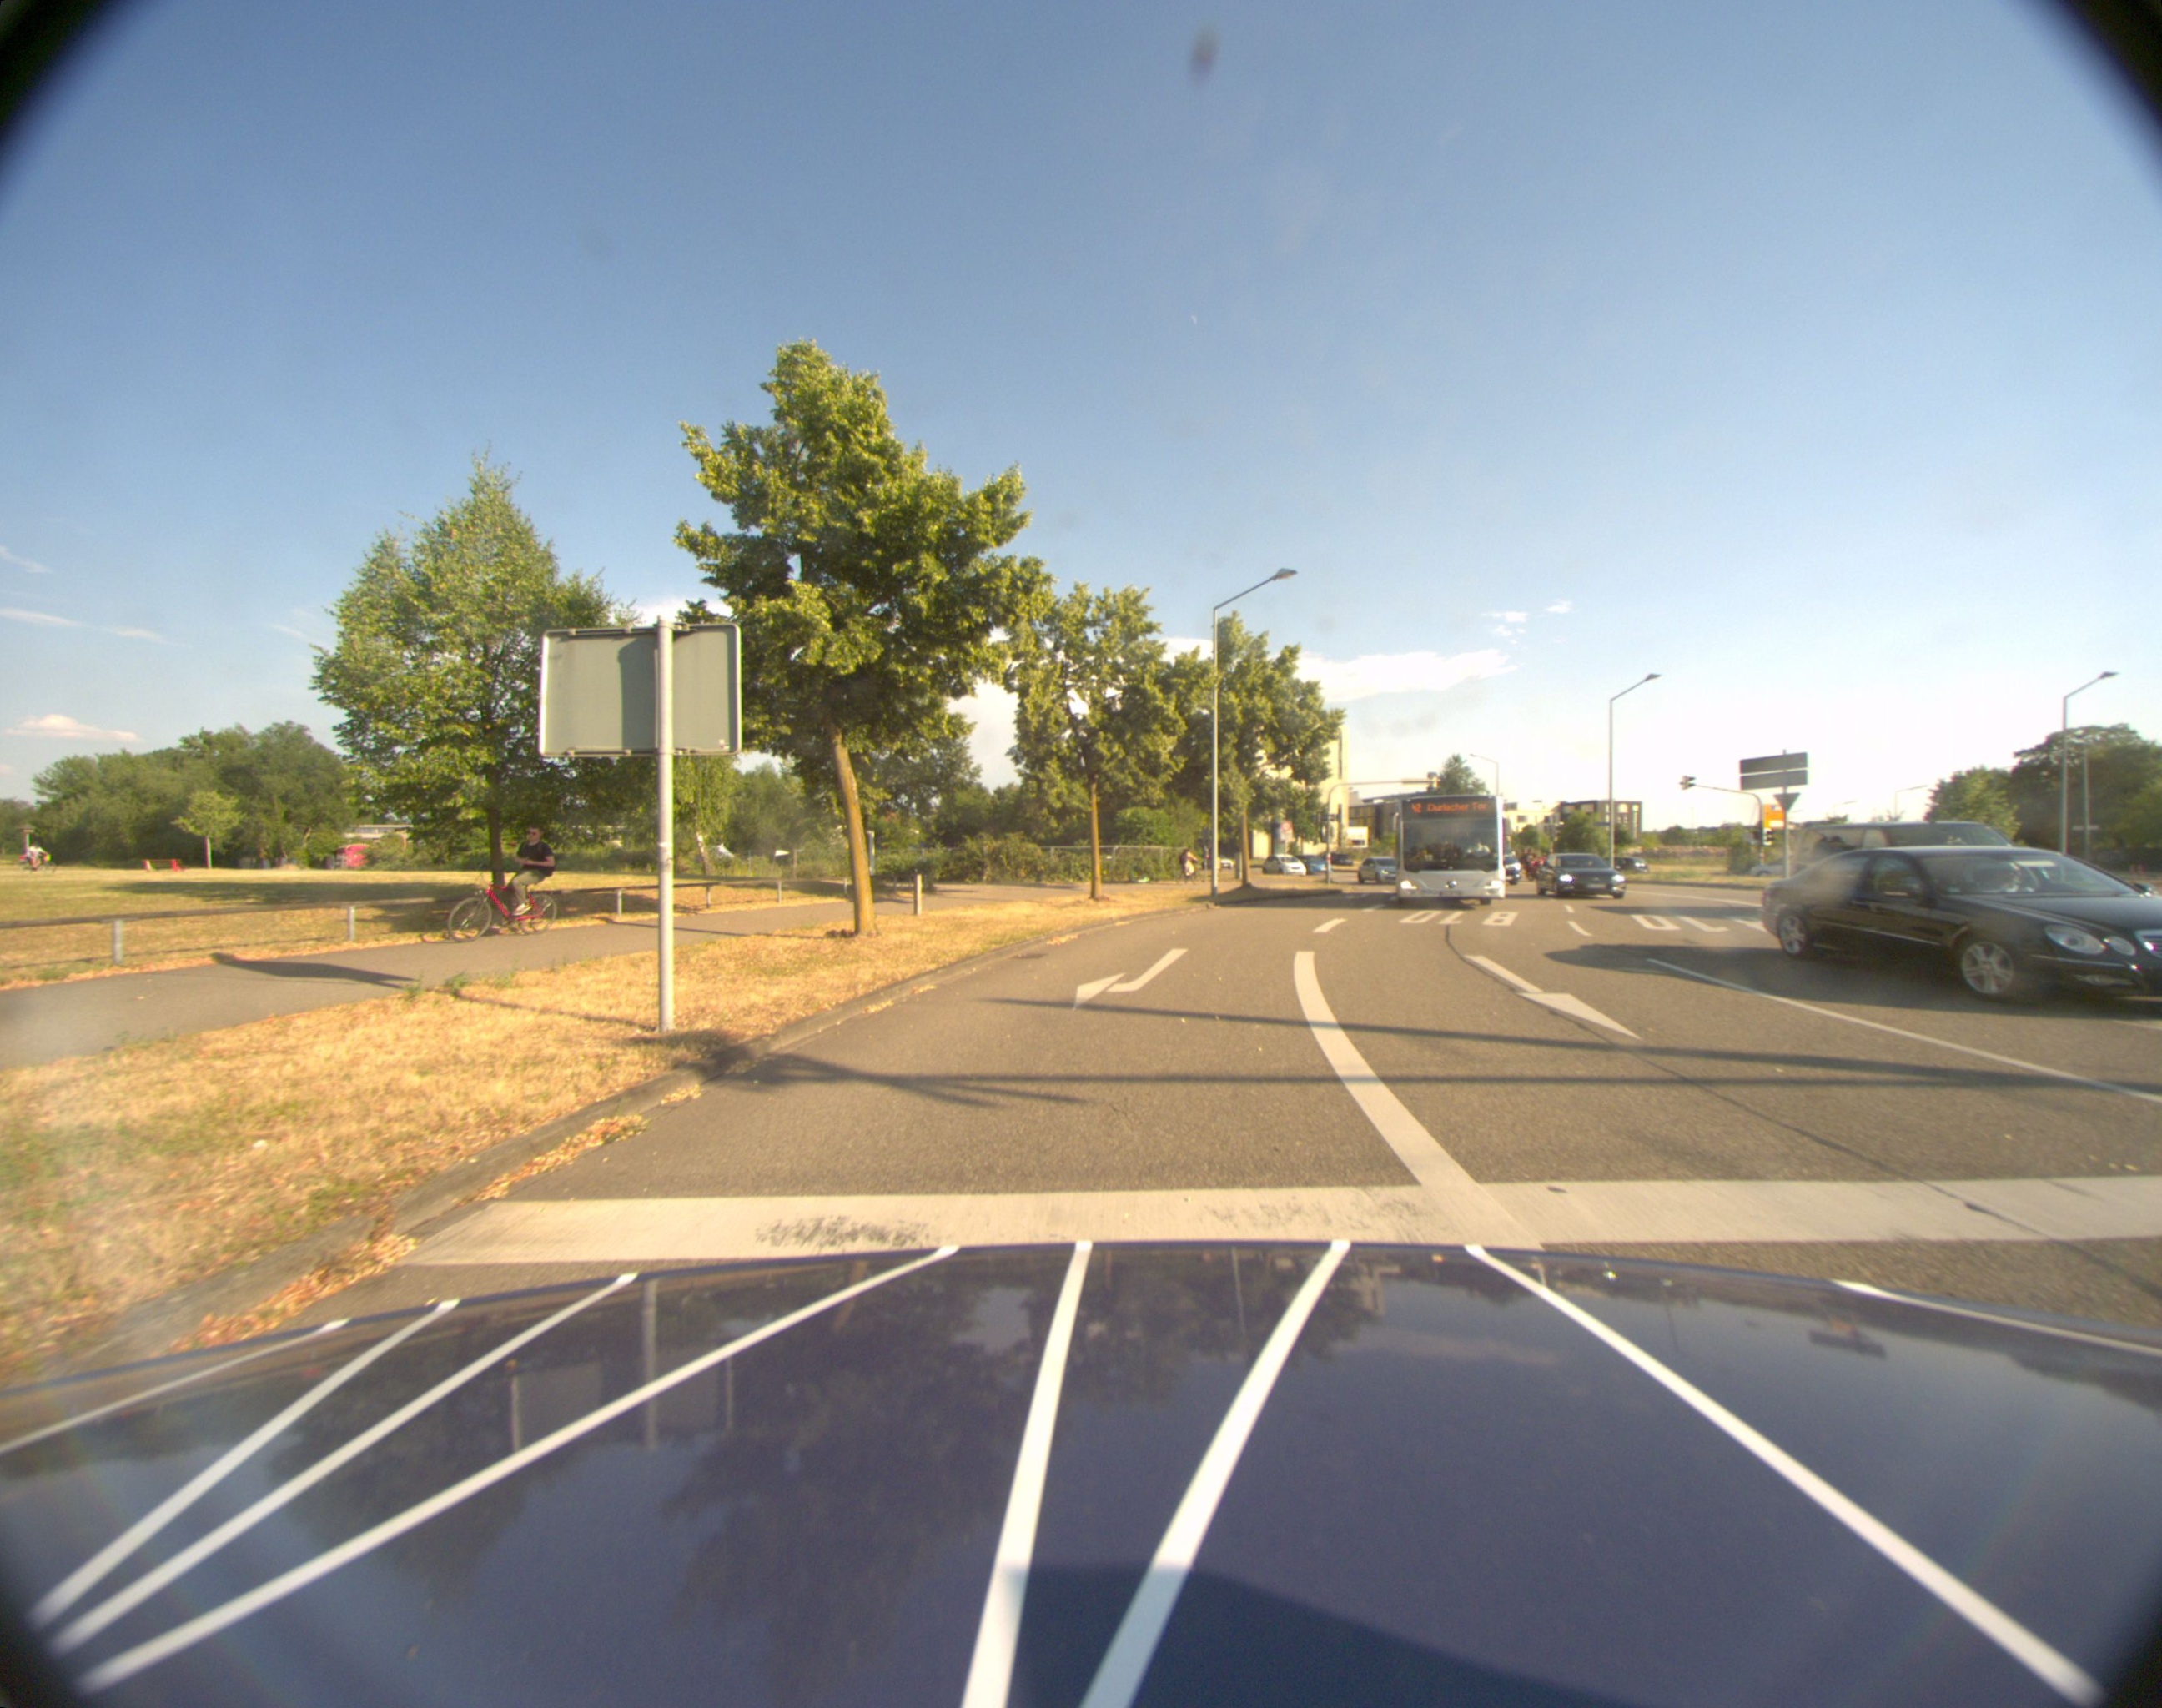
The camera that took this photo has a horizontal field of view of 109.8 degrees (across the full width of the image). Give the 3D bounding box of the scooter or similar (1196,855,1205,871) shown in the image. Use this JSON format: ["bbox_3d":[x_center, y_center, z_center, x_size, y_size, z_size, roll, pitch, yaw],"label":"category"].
[{"bbox_3d":[8.232,0.623,52.307,0.249,1.119,1.094,2,0,-8],"label":"scooter or similar"}]

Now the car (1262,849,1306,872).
[{"bbox_3d":[14.742,0.441,55.285,1.586,1.553,3.622,0,1,-14],"label":"car"}]

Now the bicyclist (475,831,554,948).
[{"bbox_3d":[-9.213,0.556,12.373,0.619,1.819,0.832,2,1,26],"label":"bicyclist"}]

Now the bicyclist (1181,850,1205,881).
[{"bbox_3d":[5.091,0.518,34.555,0.982,1.355,0.557,-1,2,-36],"label":"bicyclist"}]

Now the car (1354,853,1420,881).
[{"bbox_3d":[16.297,0.653,40.652,1.586,1.415,3.624,0,0,-10],"label":"car"}]

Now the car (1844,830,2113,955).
[{"bbox_3d":[16.569,0.547,14.423,1.857,1.921,5.022,-1,1,32],"label":"car"}]

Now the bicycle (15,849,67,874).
[{"bbox_3d":[-62.219,0.441,45.469,1.944,1.442,0.392,-2,2,-15],"label":"bicycle"}]

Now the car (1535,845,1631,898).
[{"bbox_3d":[16.190,0.513,24.706,1.807,1.501,4.167,-1,1,22],"label":"car"}]

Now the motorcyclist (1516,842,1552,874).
[{"bbox_3d":[23.388,0.189,39.264,1.040,1.581,1.440,0,2,5],"label":"motorcyclist"}]

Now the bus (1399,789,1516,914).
[{"bbox_3d":[11.597,-0.139,24.337,2.590,3.025,11.737,-1,1,23],"label":"bus"}]

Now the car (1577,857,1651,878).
[{"bbox_3d":[36.069,0.874,51.522,1.483,1.341,3.821,-1,1,-29],"label":"car"}]

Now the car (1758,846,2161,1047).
[{"bbox_3d":[9.369,0.707,7.930,1.808,1.428,4.498,-2,1,18],"label":"car"}]

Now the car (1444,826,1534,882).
[{"bbox_3d":[20.183,-0.079,37.937,1.979,2.504,5.911,-2,1,8],"label":"car"}]

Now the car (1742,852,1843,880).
[{"bbox_3d":[40.410,0.649,43.216,1.659,1.516,3.933,-1,1,-36],"label":"car"}]

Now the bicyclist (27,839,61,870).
[{"bbox_3d":[-62.152,0.019,45.539,0.929,1.769,0.637,-3,2,-15],"label":"bicyclist"}]

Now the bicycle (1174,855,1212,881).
[{"bbox_3d":[5.103,0.638,34.580,1.832,1.149,0.490,0,-3,-36],"label":"bicycle"}]

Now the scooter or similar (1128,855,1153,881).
[{"bbox_3d":[2.697,0.621,34.418,1.173,1.153,0.341,0,1,-34],"label":"scooter or similar"}]

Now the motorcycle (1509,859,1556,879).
[{"bbox_3d":[23.416,0.754,39.488,0.954,0.956,2.892,0,1,6],"label":"motorcycle"}]

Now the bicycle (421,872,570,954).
[{"bbox_3d":[-9.285,0.895,12.143,0.415,1.152,1.894,2,1,27],"label":"bicycle"}]
